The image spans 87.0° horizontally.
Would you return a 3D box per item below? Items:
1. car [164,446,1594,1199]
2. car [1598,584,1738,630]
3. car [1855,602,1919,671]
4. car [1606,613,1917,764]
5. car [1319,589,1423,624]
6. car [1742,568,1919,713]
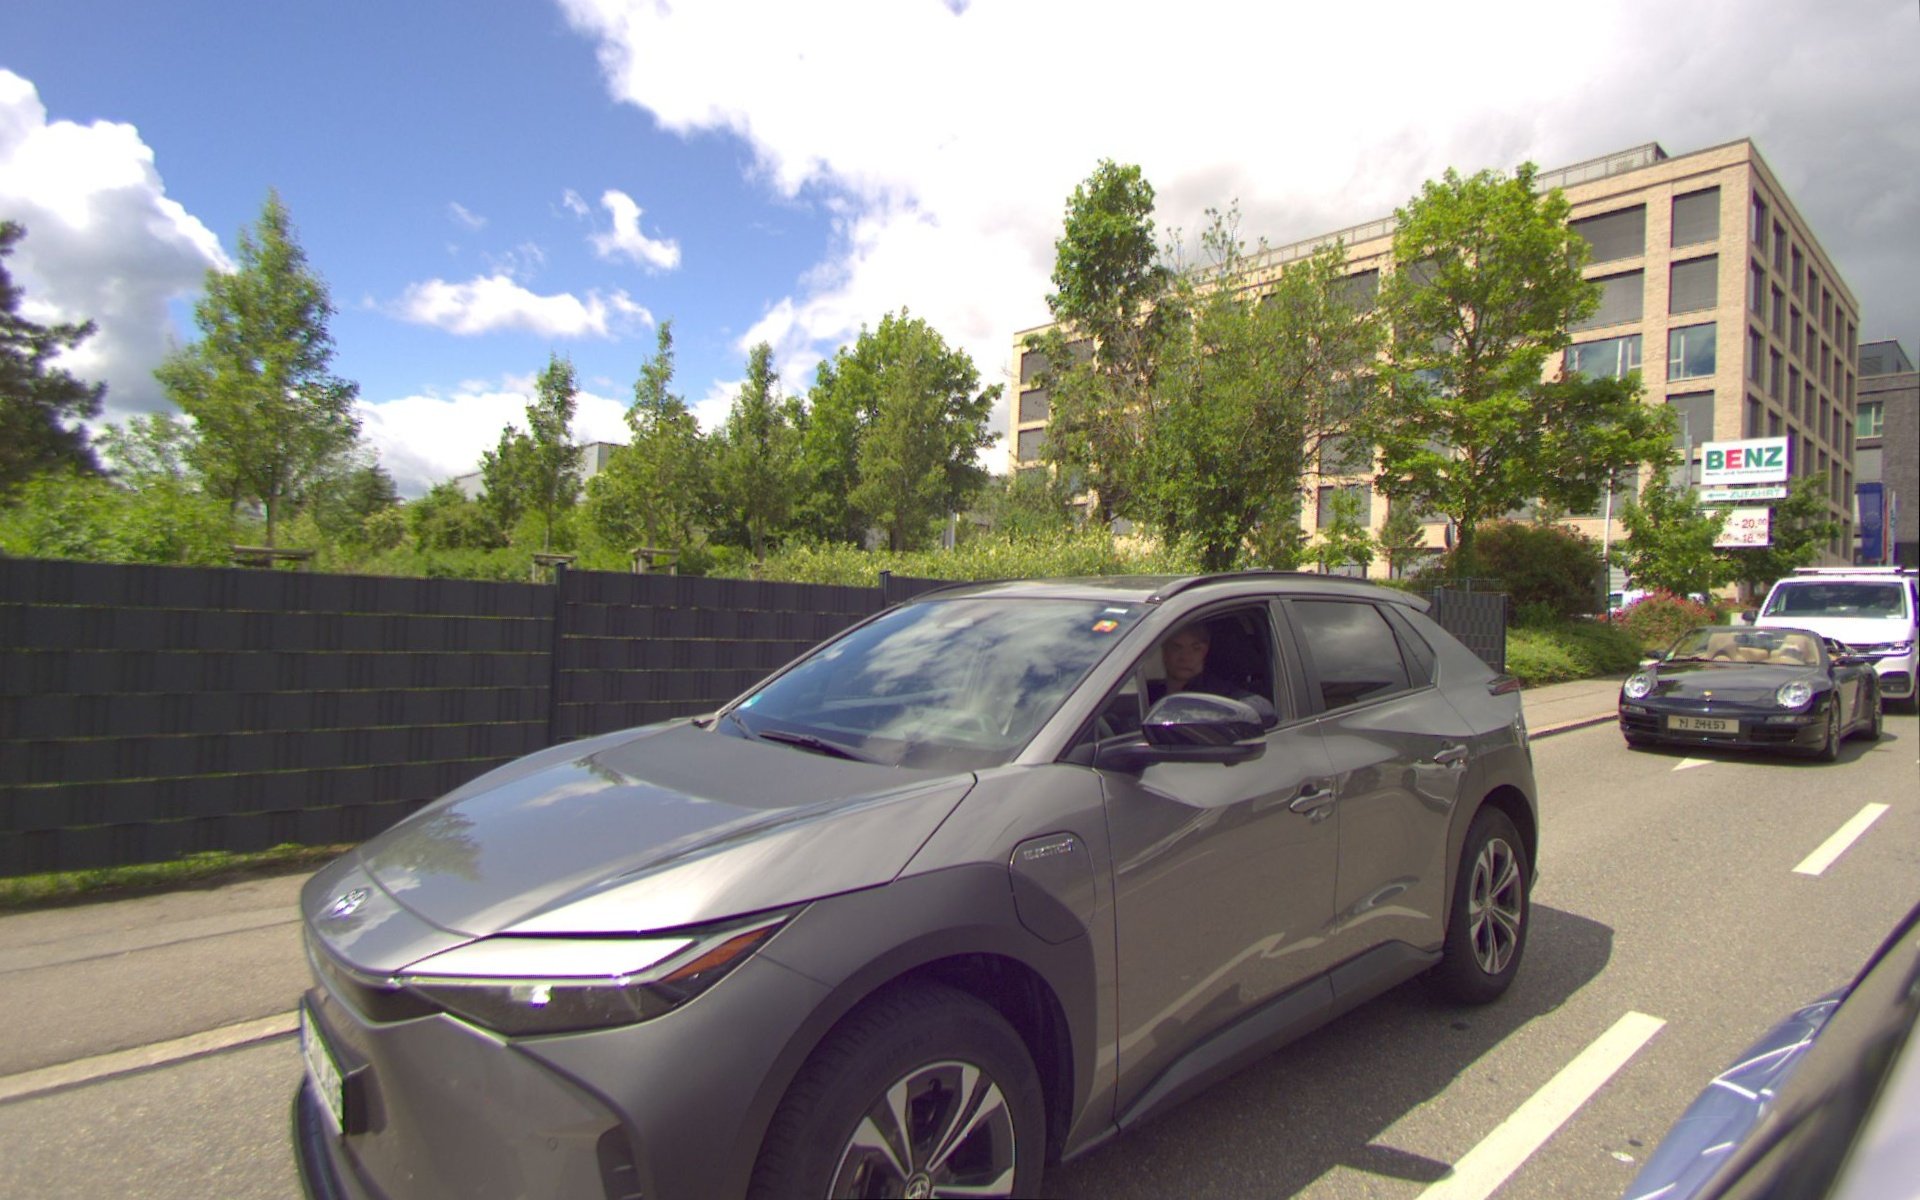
[{"bbox_3d":[0.276,0.652,3.434,4.601,1.634,1.922,0,-1,-41],"label":"car"},{"bbox_3d":[27.437,0.248,39.310,1.707,1.596,4.211,1,1,-44],"label":"car"},{"bbox_3d":[20.502,0.724,21.229,4.485,1.290,1.778,0,1,-38],"label":"car"},{"bbox_3d":[8.797,0.798,10.962,4.487,1.290,1.776,0,-1,-40],"label":"car"},{"bbox_3d":[19.368,0.281,47.828,1.705,1.436,4.215,1,1,-41],"label":"car"},{"bbox_3d":[13.555,0.538,15.224,4.563,1.874,1.962,0,-1,-41],"label":"car"}]
